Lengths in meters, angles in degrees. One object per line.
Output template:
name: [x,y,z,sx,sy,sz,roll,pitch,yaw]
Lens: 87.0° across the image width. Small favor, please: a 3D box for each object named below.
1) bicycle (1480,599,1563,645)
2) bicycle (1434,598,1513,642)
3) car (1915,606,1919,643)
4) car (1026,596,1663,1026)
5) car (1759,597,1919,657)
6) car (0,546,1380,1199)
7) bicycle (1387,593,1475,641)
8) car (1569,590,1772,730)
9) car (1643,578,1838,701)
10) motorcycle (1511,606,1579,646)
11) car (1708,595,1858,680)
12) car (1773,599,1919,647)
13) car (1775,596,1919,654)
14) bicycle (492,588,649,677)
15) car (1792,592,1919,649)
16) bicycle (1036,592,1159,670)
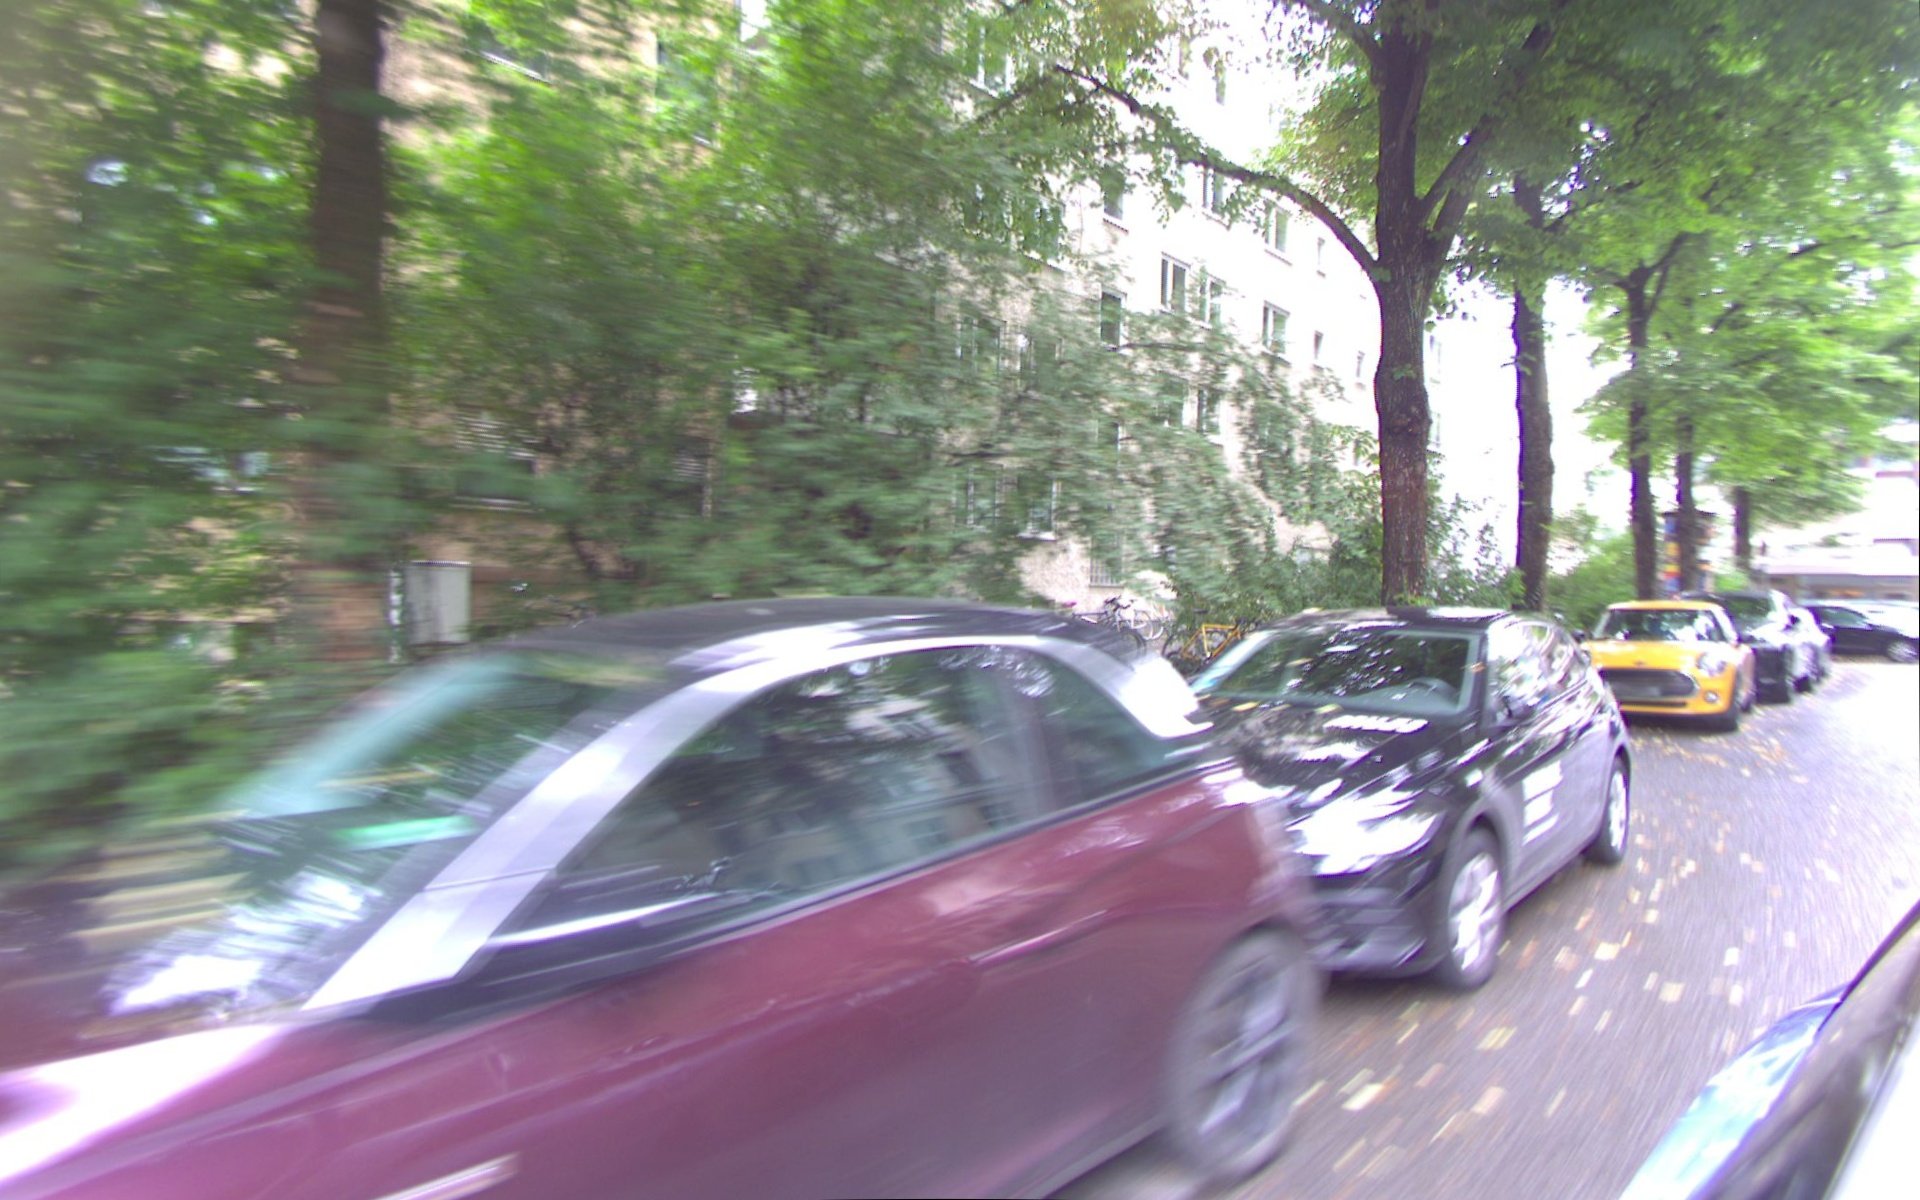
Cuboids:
bicycle: [14.658,0.566,26.450,1.864,1.138,0.534,1,0,34]
bicycle: [14.051,0.529,27.702,1.864,1.138,0.534,1,0,34]
car: [38.675,0.996,38.071,1.537,1.440,3.829,4,-1,-40]
car: [2.259,0.689,5.267,1.682,1.375,3.944,0,0,44]
car: [23.555,0.677,26.373,1.705,1.412,4.087,1,1,-43]
car: [-0.669,0.688,2.306,3.581,1.493,1.650,0,0,-42]
bicycle: [11.616,0.406,25.007,1.932,1.138,0.441,1,0,31]
car: [8.811,0.626,12.422,1.617,1.430,3.722,1,0,42]
car: [12.327,0.533,15.868,4.451,1.649,1.833,1,0,-45]
motorcycle: [18.890,0.821,32.704,1.798,1.213,0.681,1,0,39]
car: [16.349,0.643,20.025,1.900,1.430,4.358,3,2,44]
car: [28.686,0.704,31.869,4.715,1.394,1.930,2,1,42]
car: [25.293,0.675,28.186,3.933,1.465,1.799,2,1,42]
bicycle: [-4.964,0.387,12.999,0.554,1.057,1.807,2,1,43]
car: [27.089,0.588,29.692,1.727,1.575,3.975,1,1,-44]
bicycle: [2.086,0.440,15.496,1.826,1.097,0.539,2,1,38]
